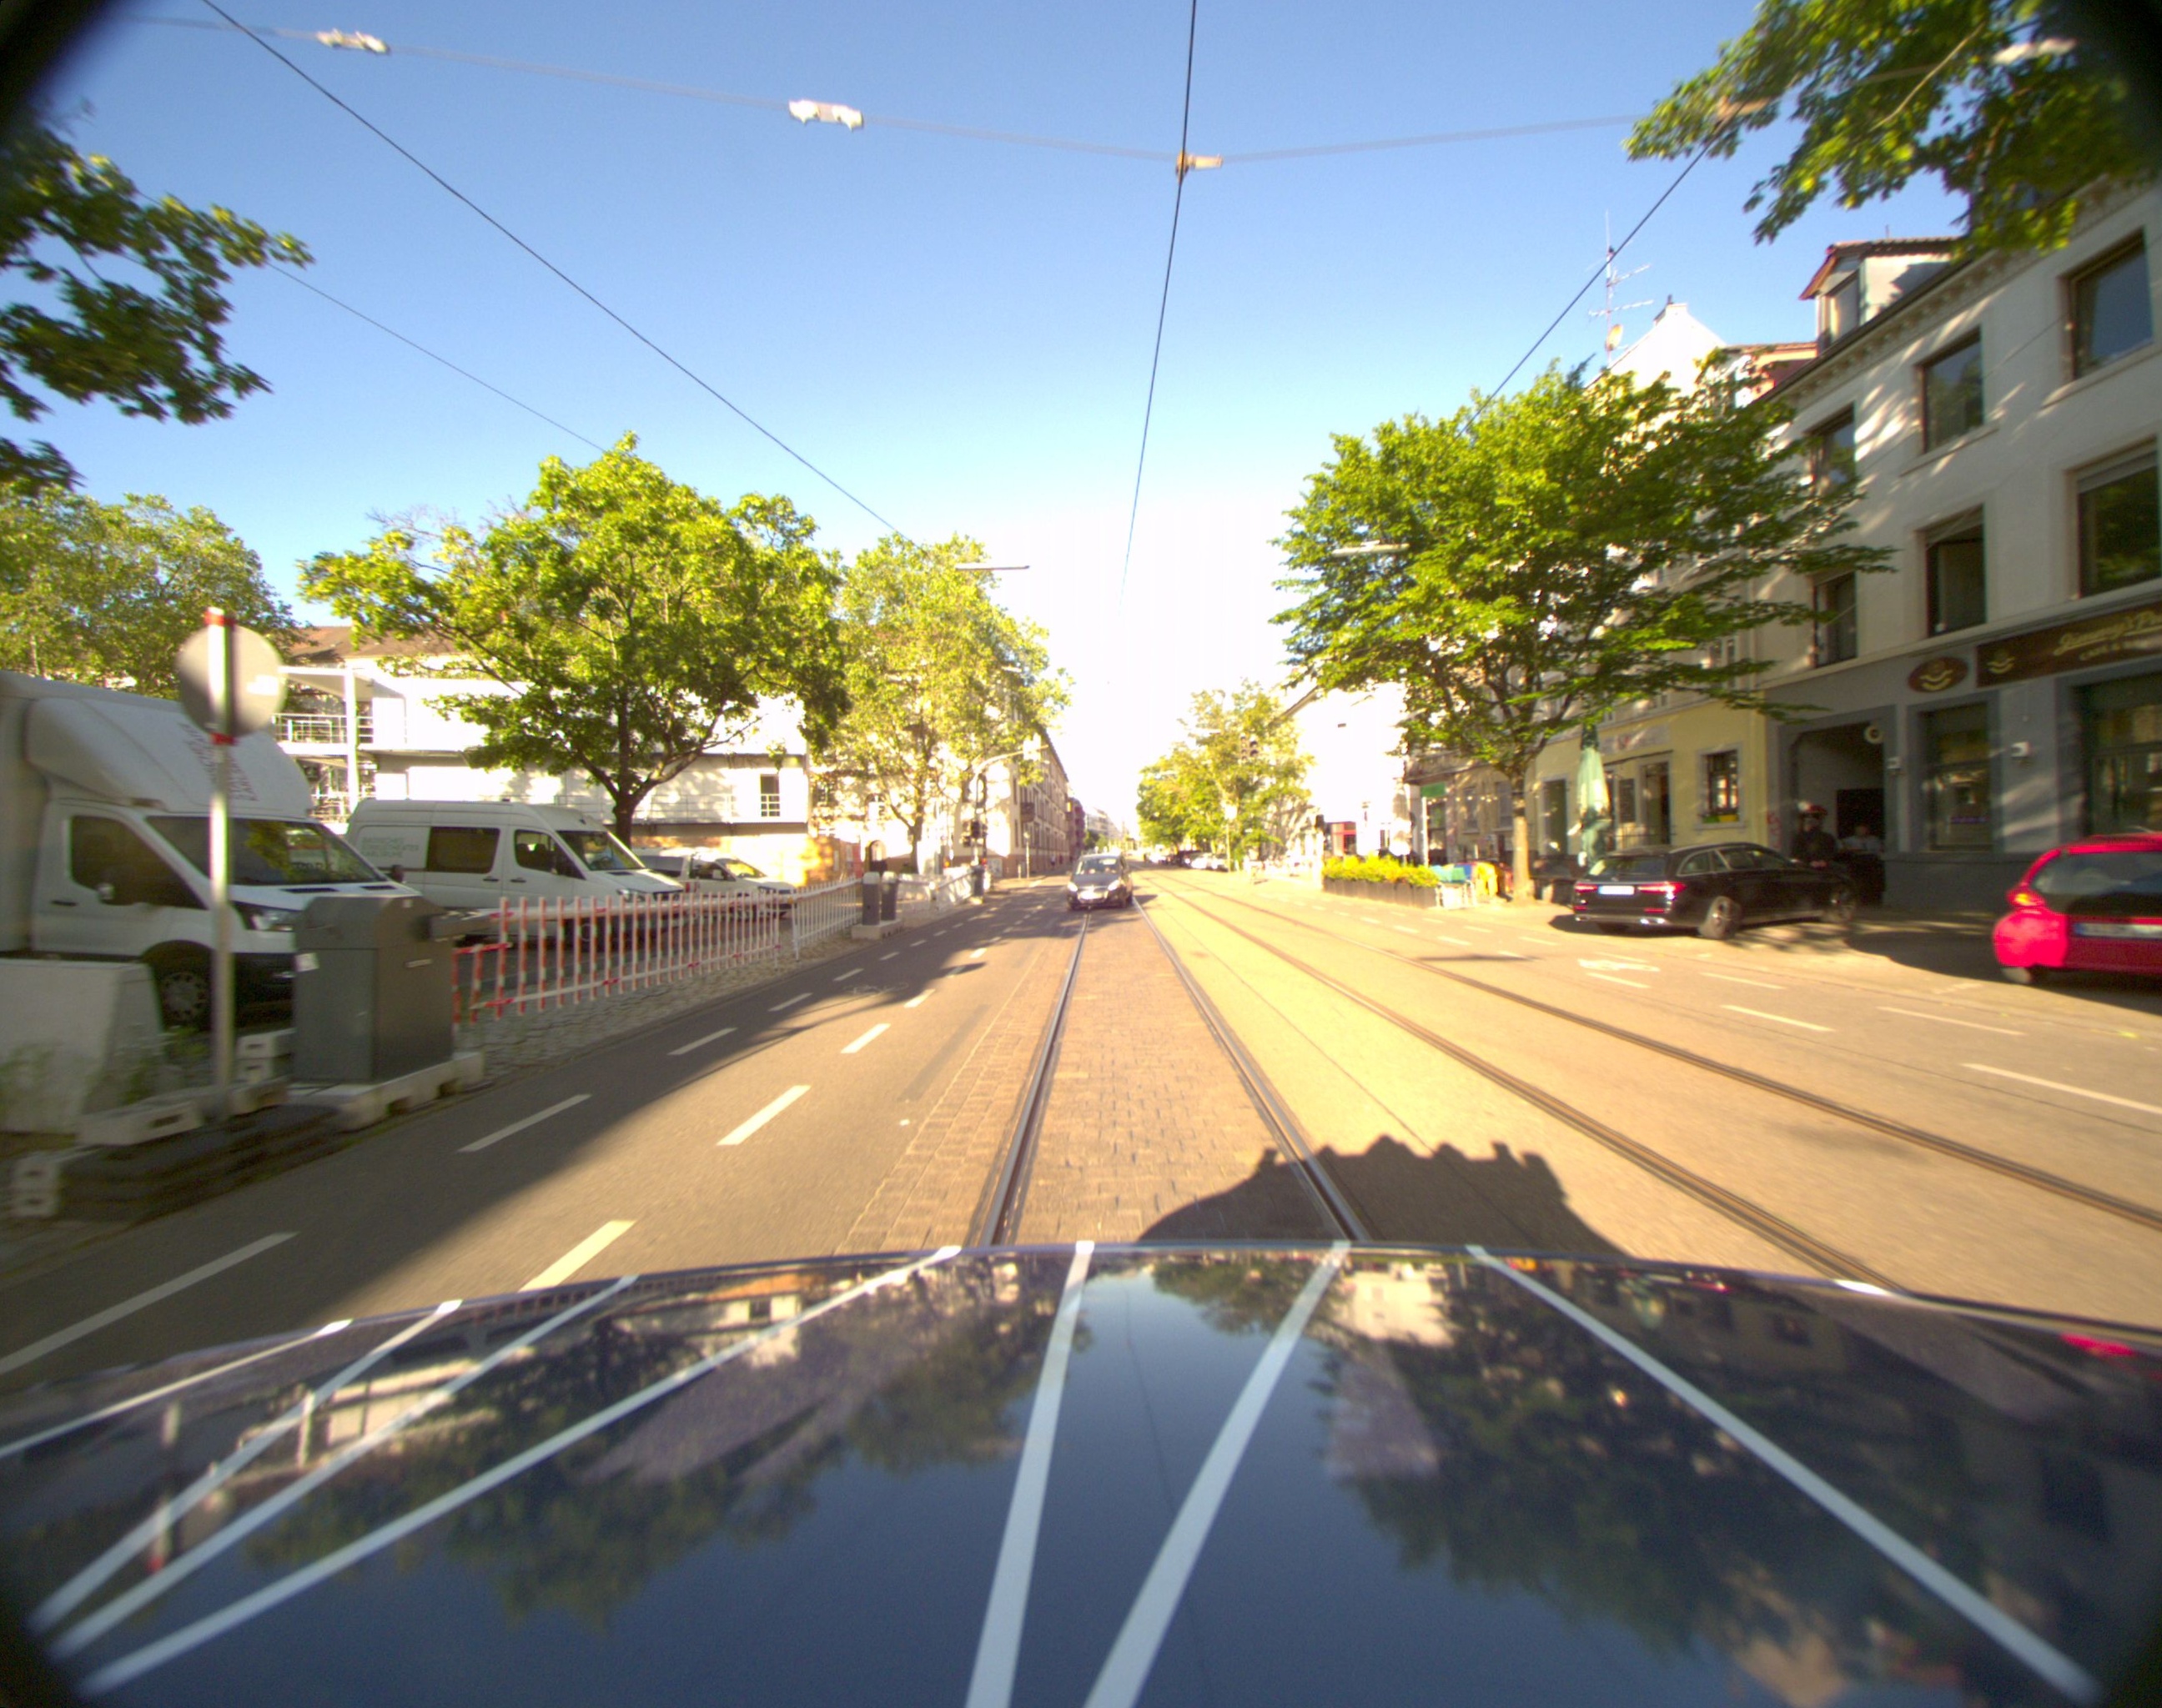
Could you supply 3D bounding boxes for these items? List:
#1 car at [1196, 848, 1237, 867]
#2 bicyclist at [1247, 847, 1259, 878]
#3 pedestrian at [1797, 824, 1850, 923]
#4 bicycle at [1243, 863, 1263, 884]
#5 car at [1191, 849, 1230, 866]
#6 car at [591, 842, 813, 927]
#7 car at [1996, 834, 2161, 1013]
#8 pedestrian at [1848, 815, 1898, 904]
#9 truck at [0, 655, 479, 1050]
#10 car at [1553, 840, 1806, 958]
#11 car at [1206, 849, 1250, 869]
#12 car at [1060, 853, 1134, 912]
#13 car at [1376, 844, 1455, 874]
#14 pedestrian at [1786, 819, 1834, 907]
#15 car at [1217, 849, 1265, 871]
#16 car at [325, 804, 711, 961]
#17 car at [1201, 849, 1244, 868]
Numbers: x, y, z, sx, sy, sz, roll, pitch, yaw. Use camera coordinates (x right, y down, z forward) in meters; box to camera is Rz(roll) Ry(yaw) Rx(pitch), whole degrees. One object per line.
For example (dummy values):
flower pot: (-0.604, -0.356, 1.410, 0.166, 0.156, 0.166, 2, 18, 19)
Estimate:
car: (11.917, 0.306, 66.883, 3.336, 1.445, 1.496, -2, 2, 4)
bicyclist: (8.143, 0.414, 35.884, 0.419, 1.462, 0.590, 0, 1, -1)
pedestrian: (14.342, 0.368, 14.688, 0.454, 1.875, 0.591, 0, 1, 2)
bicycle: (8.138, 0.917, 36.003, 0.451, 0.930, 1.757, 0, 0, -2)
car: (12.063, 0.320, 70.916, 3.336, 1.445, 1.496, -2, 2, 4)
car: (-9.758, 0.764, 19.802, 4.793, 1.998, 2.001, -1, 0, 6)
car: (10.762, 0.565, 7.266, 3.342, 1.445, 1.494, -3, 0, -20)
pedestrian: (16.252, 0.116, 15.593, 0.487, 1.800, 0.510, 0, 1, -2)
truck: (-10.683, 0.010, 7.798, 7.092, 3.399, 2.371, 0, 1, 1)
car: (9.883, 0.632, 12.514, 4.005, 1.549, 1.777, -3, 1, -28)
car: (11.939, 0.418, 61.978, 3.336, 1.445, 1.496, -2, 2, 3)
car: (0.576, 0.802, 23.248, 1.748, 1.612, 4.172, -2, 0, 8)
car: (19.615, 0.293, 44.686, 3.992, 1.739, 2.002, 0, 0, 14)
pedestrian: (15.197, 0.188, 15.848, 0.487, 1.800, 0.510, 0, 1, -2)
car: (11.900, 0.432, 56.631, 3.335, 1.445, 1.497, -2, 2, 9)
car: (-9.760, 0.464, 13.516, 5.335, 2.547, 2.014, 0, 1, 1)
car: (11.984, 0.367, 64.417, 3.336, 1.445, 1.496, -2, 2, 4)
